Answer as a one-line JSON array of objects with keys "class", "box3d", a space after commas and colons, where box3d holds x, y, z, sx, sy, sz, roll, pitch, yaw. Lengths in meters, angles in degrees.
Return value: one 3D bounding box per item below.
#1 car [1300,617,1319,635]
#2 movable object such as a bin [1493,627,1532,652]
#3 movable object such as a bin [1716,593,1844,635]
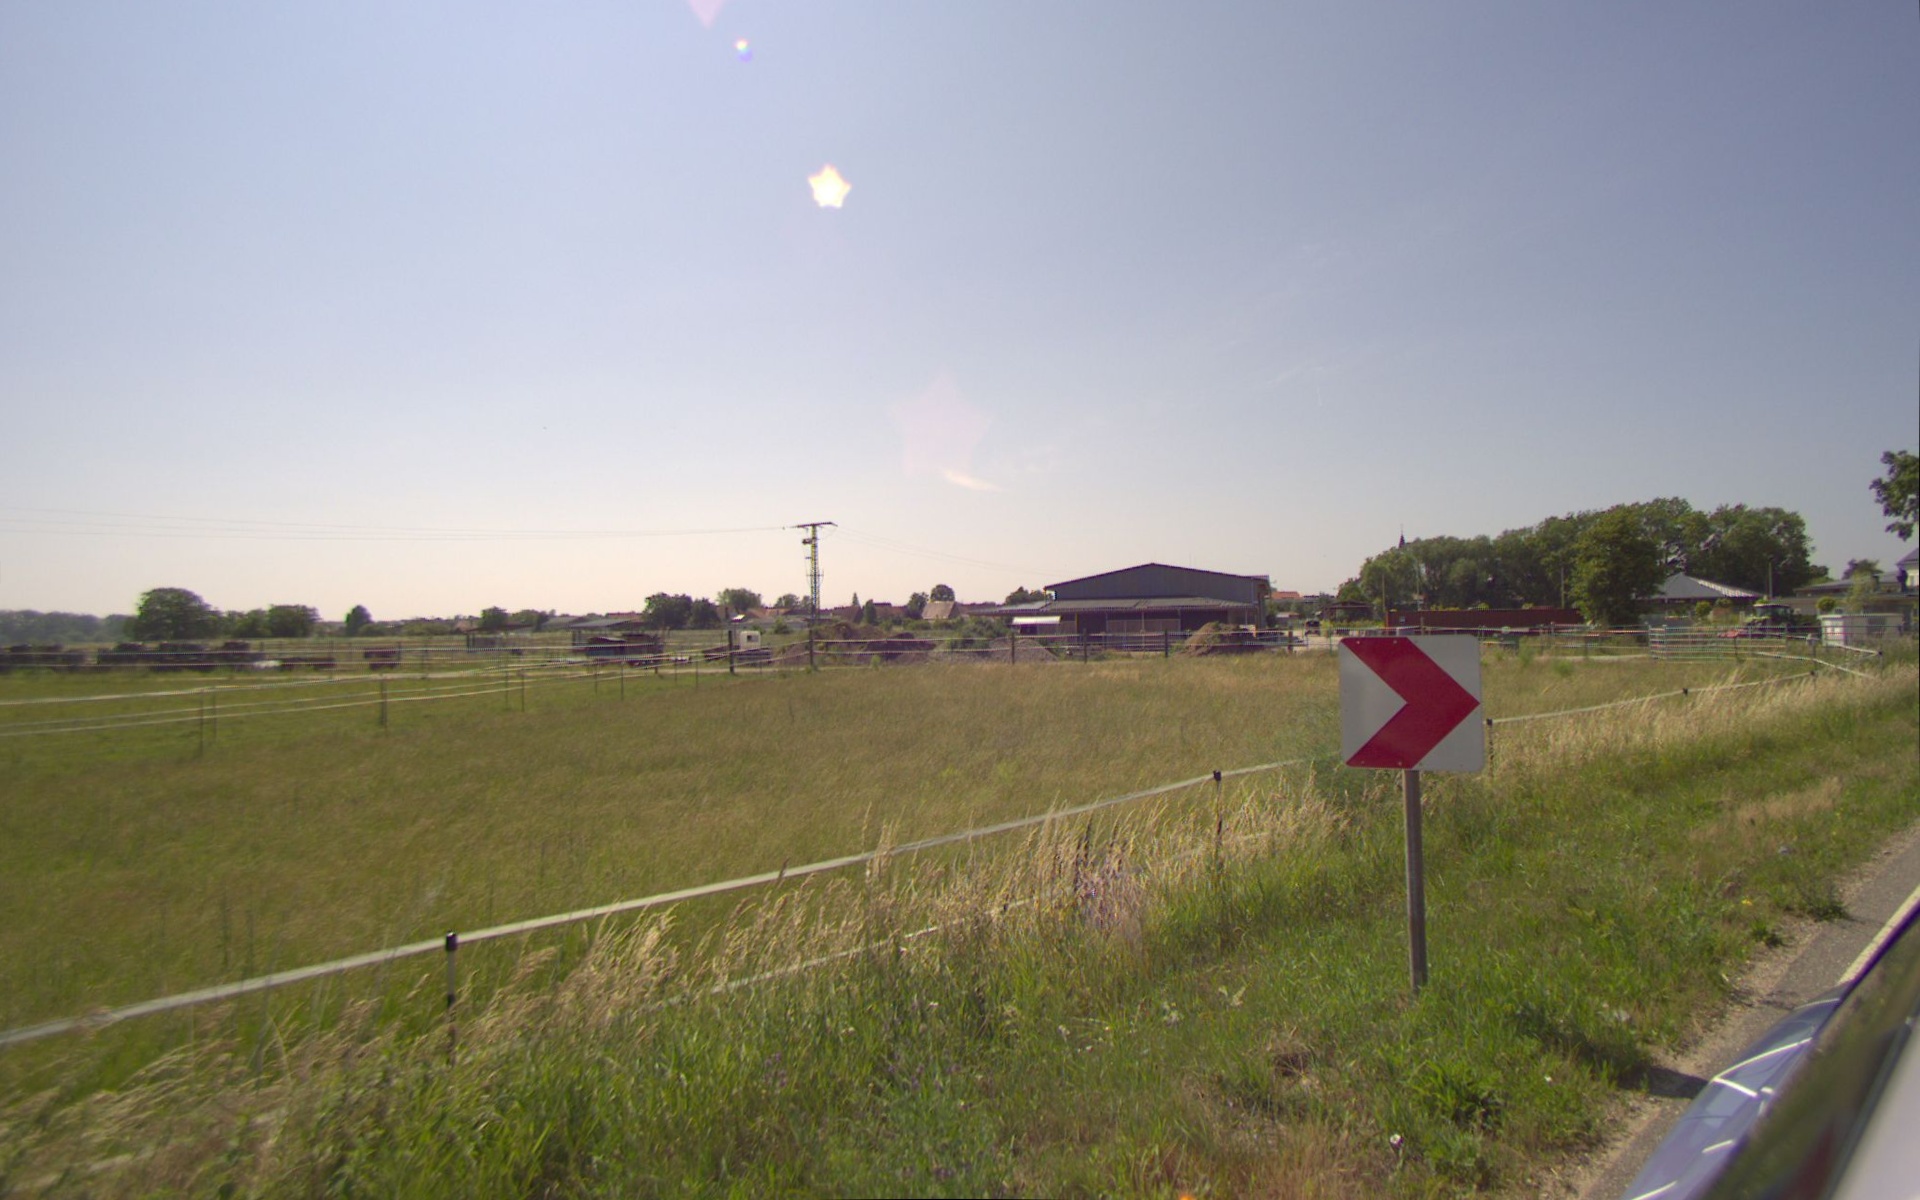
[{"class": "car", "box3d": [42.266, 3.103, 122.224, 1.975, 2.040, 3.972, -4, -3, 21]}, {"class": "movable object such as a bin", "box3d": [31.325, 2.236, 57.415, 1.492, 1.367, 1.368, -2, -2, 11]}, {"class": "movable object such as a bin", "box3d": [59.237, 1.064, 73.277, 6.393, 2.806, 3.005, -1, -3, 7]}]
